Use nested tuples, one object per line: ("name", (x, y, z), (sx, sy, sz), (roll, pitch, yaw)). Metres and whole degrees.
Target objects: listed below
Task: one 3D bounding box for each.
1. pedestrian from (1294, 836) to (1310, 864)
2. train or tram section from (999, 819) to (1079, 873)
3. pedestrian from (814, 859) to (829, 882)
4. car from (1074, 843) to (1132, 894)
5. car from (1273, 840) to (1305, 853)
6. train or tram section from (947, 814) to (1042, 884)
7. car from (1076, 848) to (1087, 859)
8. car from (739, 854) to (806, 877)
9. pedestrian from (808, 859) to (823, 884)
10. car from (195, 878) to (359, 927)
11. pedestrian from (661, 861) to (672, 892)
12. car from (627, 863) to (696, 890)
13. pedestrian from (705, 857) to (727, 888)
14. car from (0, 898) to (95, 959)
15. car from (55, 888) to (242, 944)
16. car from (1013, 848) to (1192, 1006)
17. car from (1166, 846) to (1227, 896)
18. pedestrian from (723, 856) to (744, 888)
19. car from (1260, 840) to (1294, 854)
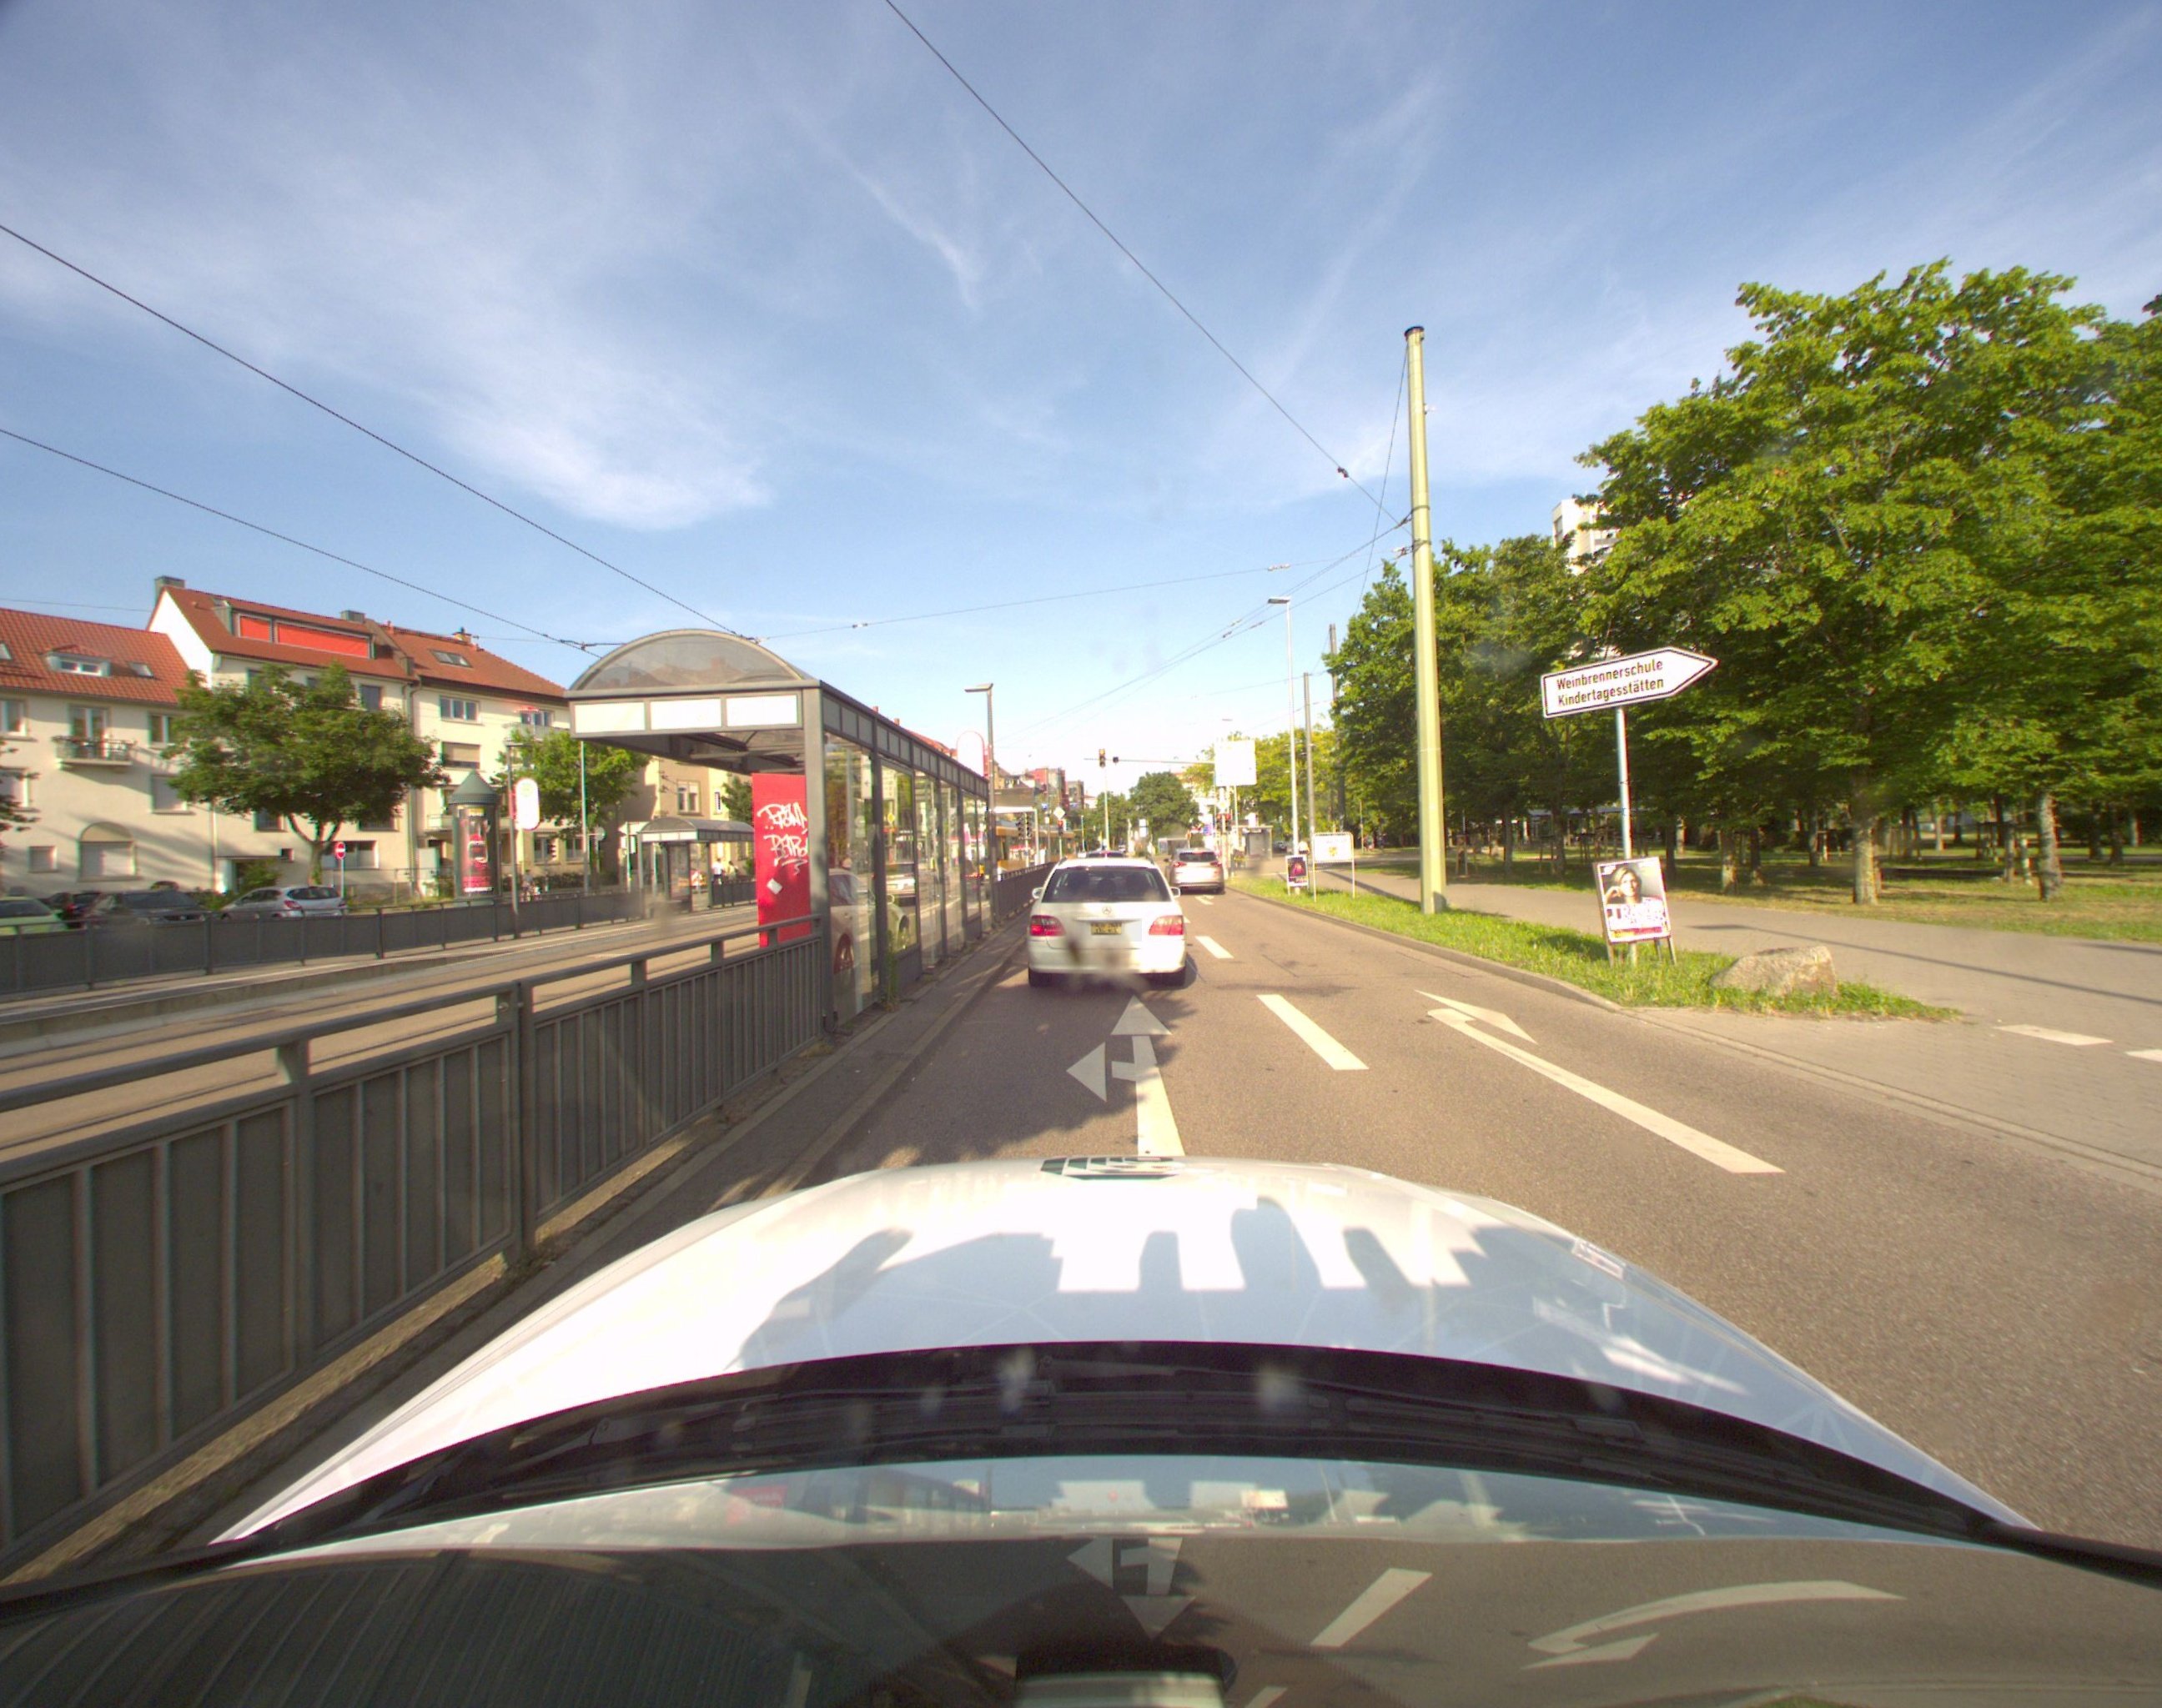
("pedestrian", (13.521, -0.248, 49.836), (0.881, 1.652, 0.748), (-2, 0, 9))
("train or tram section", (-2.802, -0.623, 60.436), (2.831, 3.479, 13.240), (-2, 1, 11))
("pedestrian", (-20.959, 1.332, 65.789), (0.882, 1.753, 0.747), (-2, 0, 5))
("car", (0.890, 0.476, 29.963), (1.778, 1.689, 4.007), (-2, 1, 6))
("car", (29.404, -1.071, 115.349), (4.007, 1.651, 1.983), (-3, 0, -25))
("train or tram section", (-4.662, -0.355, 47.440), (2.836, 3.479, 13.220), (-1, 1, 5))
("car", (0.159, -0.094, 165.839), (1.986, 2.013, 4.001), (-3, 0, 1))
("car", (-24.593, 0.918, 65.058), (2.183, 1.628, 4.744), (-1, 1, 25))
("pedestrian", (-18.865, 1.212, 57.877), (0.662, 1.753, 0.747), (-2, 0, 5))
("car", (-25.885, 1.566, 26.259), (3.957, 1.398, 2.009), (-1, 0, 16))
("pedestrian", (-27.182, 1.492, 53.418), (0.379, 2.013, 0.410), (-1, 0, 20))
("car", (-29.102, 1.549, 56.516), (3.954, 1.750, 2.010), (-1, 0, 19))
("pedestrian", (-20.869, 1.050, 46.573), (0.886, 1.753, 0.743), (-2, 0, -9))
("car", (-28.118, 1.913, 20.997), (3.956, 1.398, 2.009), (-1, 0, 17))
("car", (-26.883, 1.765, 23.520), (3.956, 1.398, 2.009), (-1, 0, 16))
("car", (0.327, 0.731, 10.269), (1.751, 1.503, 4.003), (-3, 0, 3))
("car", (4.102, 0.556, 29.472), (2.023, 1.605, 4.007), (-2, 1, 6))
("pedestrian", (-19.955, 1.018, 46.739), (0.886, 1.753, 0.743), (-2, 0, -9))
("car", (26.048, -0.906, 108.242), (3.949, 1.651, 2.012), (-3, 0, 27))
